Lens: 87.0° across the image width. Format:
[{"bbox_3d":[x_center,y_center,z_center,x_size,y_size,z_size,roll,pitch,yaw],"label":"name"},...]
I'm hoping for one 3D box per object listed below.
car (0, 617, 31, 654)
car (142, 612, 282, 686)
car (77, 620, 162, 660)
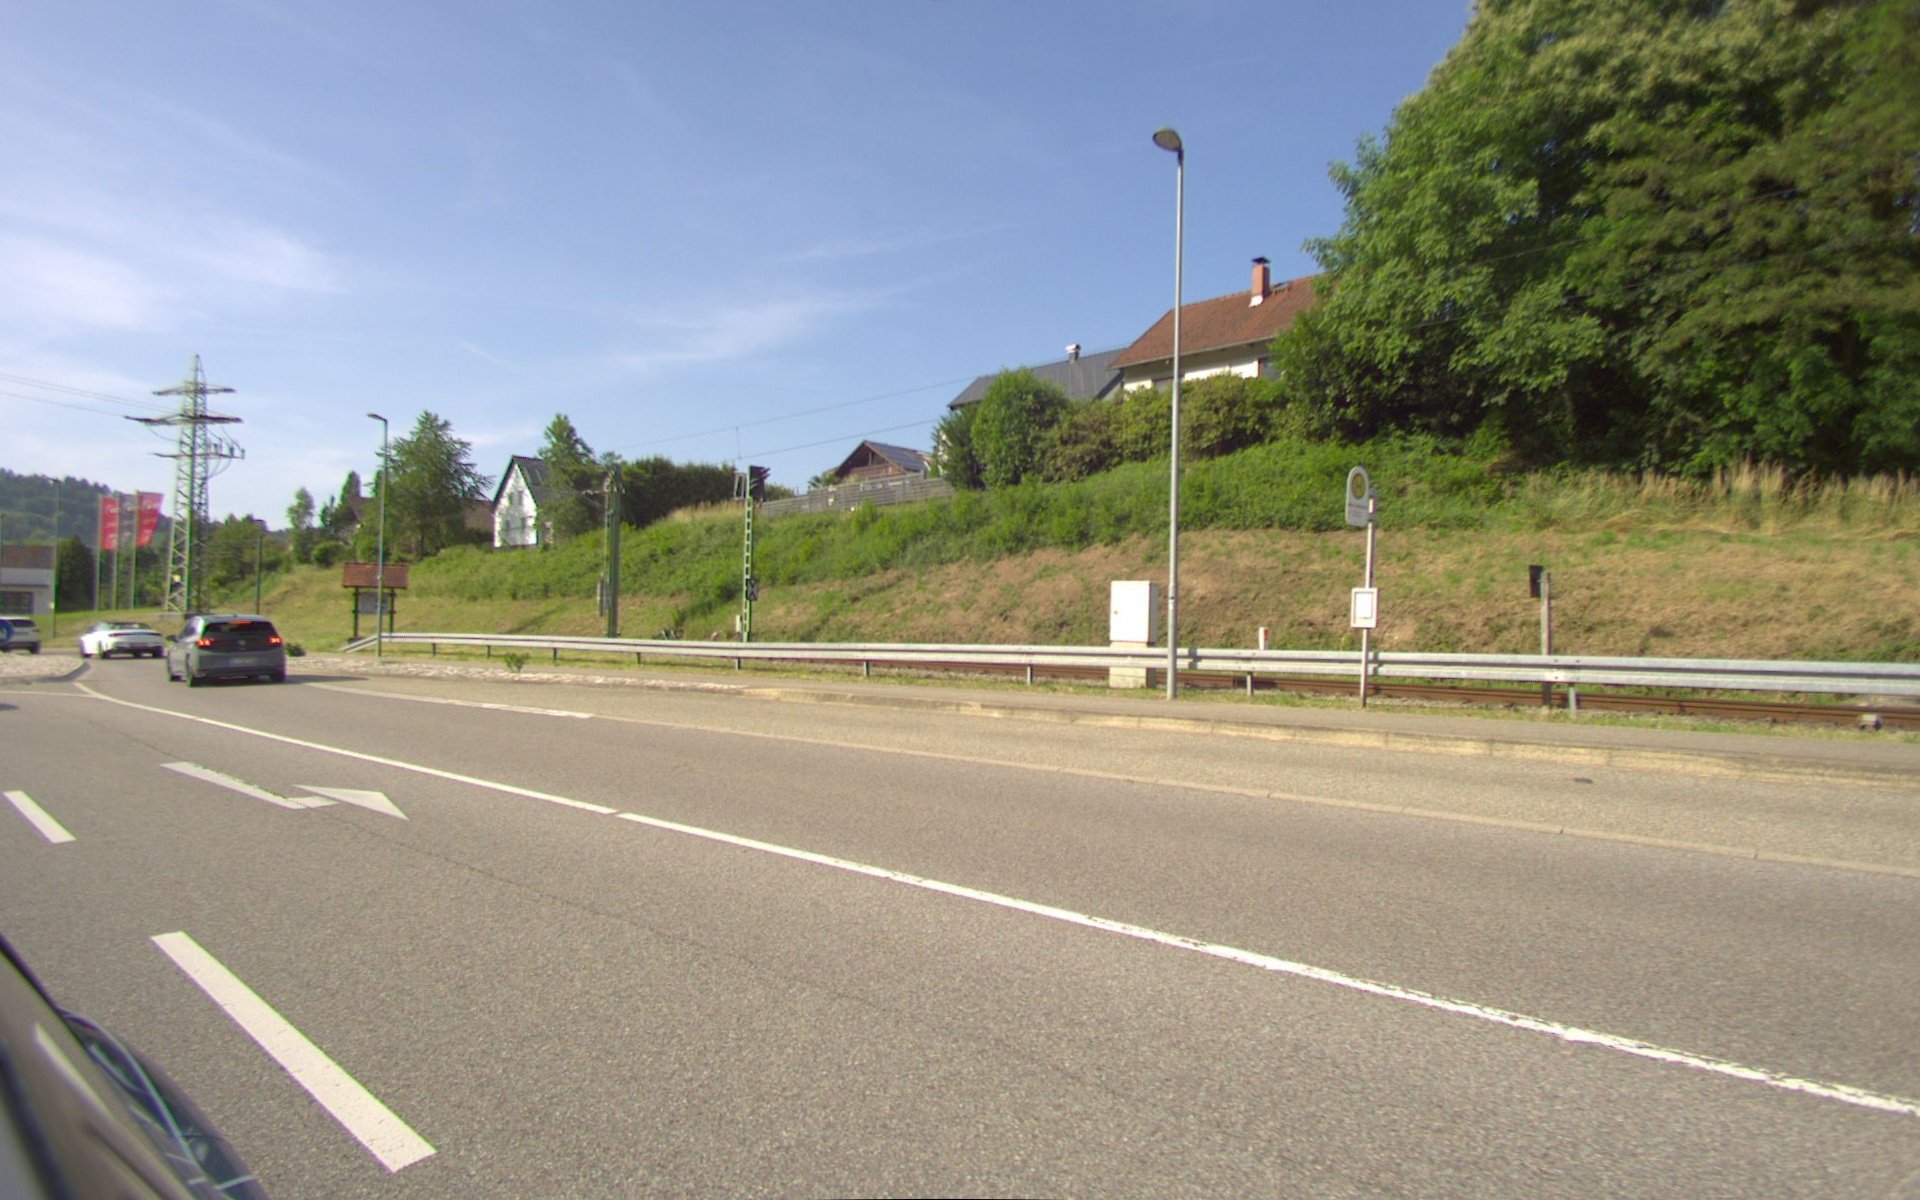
[{"bbox_3d":[-42.503,1.526,44.352,3.989,1.572,1.749,-1,-1,34],"label":"car"},{"bbox_3d":[-17.070,1.066,23.038,4.203,1.533,1.740,-1,-1,42],"label":"car"},{"bbox_3d":[-31.667,1.499,38.068,4.825,1.410,1.763,-2,-2,42],"label":"car"}]
